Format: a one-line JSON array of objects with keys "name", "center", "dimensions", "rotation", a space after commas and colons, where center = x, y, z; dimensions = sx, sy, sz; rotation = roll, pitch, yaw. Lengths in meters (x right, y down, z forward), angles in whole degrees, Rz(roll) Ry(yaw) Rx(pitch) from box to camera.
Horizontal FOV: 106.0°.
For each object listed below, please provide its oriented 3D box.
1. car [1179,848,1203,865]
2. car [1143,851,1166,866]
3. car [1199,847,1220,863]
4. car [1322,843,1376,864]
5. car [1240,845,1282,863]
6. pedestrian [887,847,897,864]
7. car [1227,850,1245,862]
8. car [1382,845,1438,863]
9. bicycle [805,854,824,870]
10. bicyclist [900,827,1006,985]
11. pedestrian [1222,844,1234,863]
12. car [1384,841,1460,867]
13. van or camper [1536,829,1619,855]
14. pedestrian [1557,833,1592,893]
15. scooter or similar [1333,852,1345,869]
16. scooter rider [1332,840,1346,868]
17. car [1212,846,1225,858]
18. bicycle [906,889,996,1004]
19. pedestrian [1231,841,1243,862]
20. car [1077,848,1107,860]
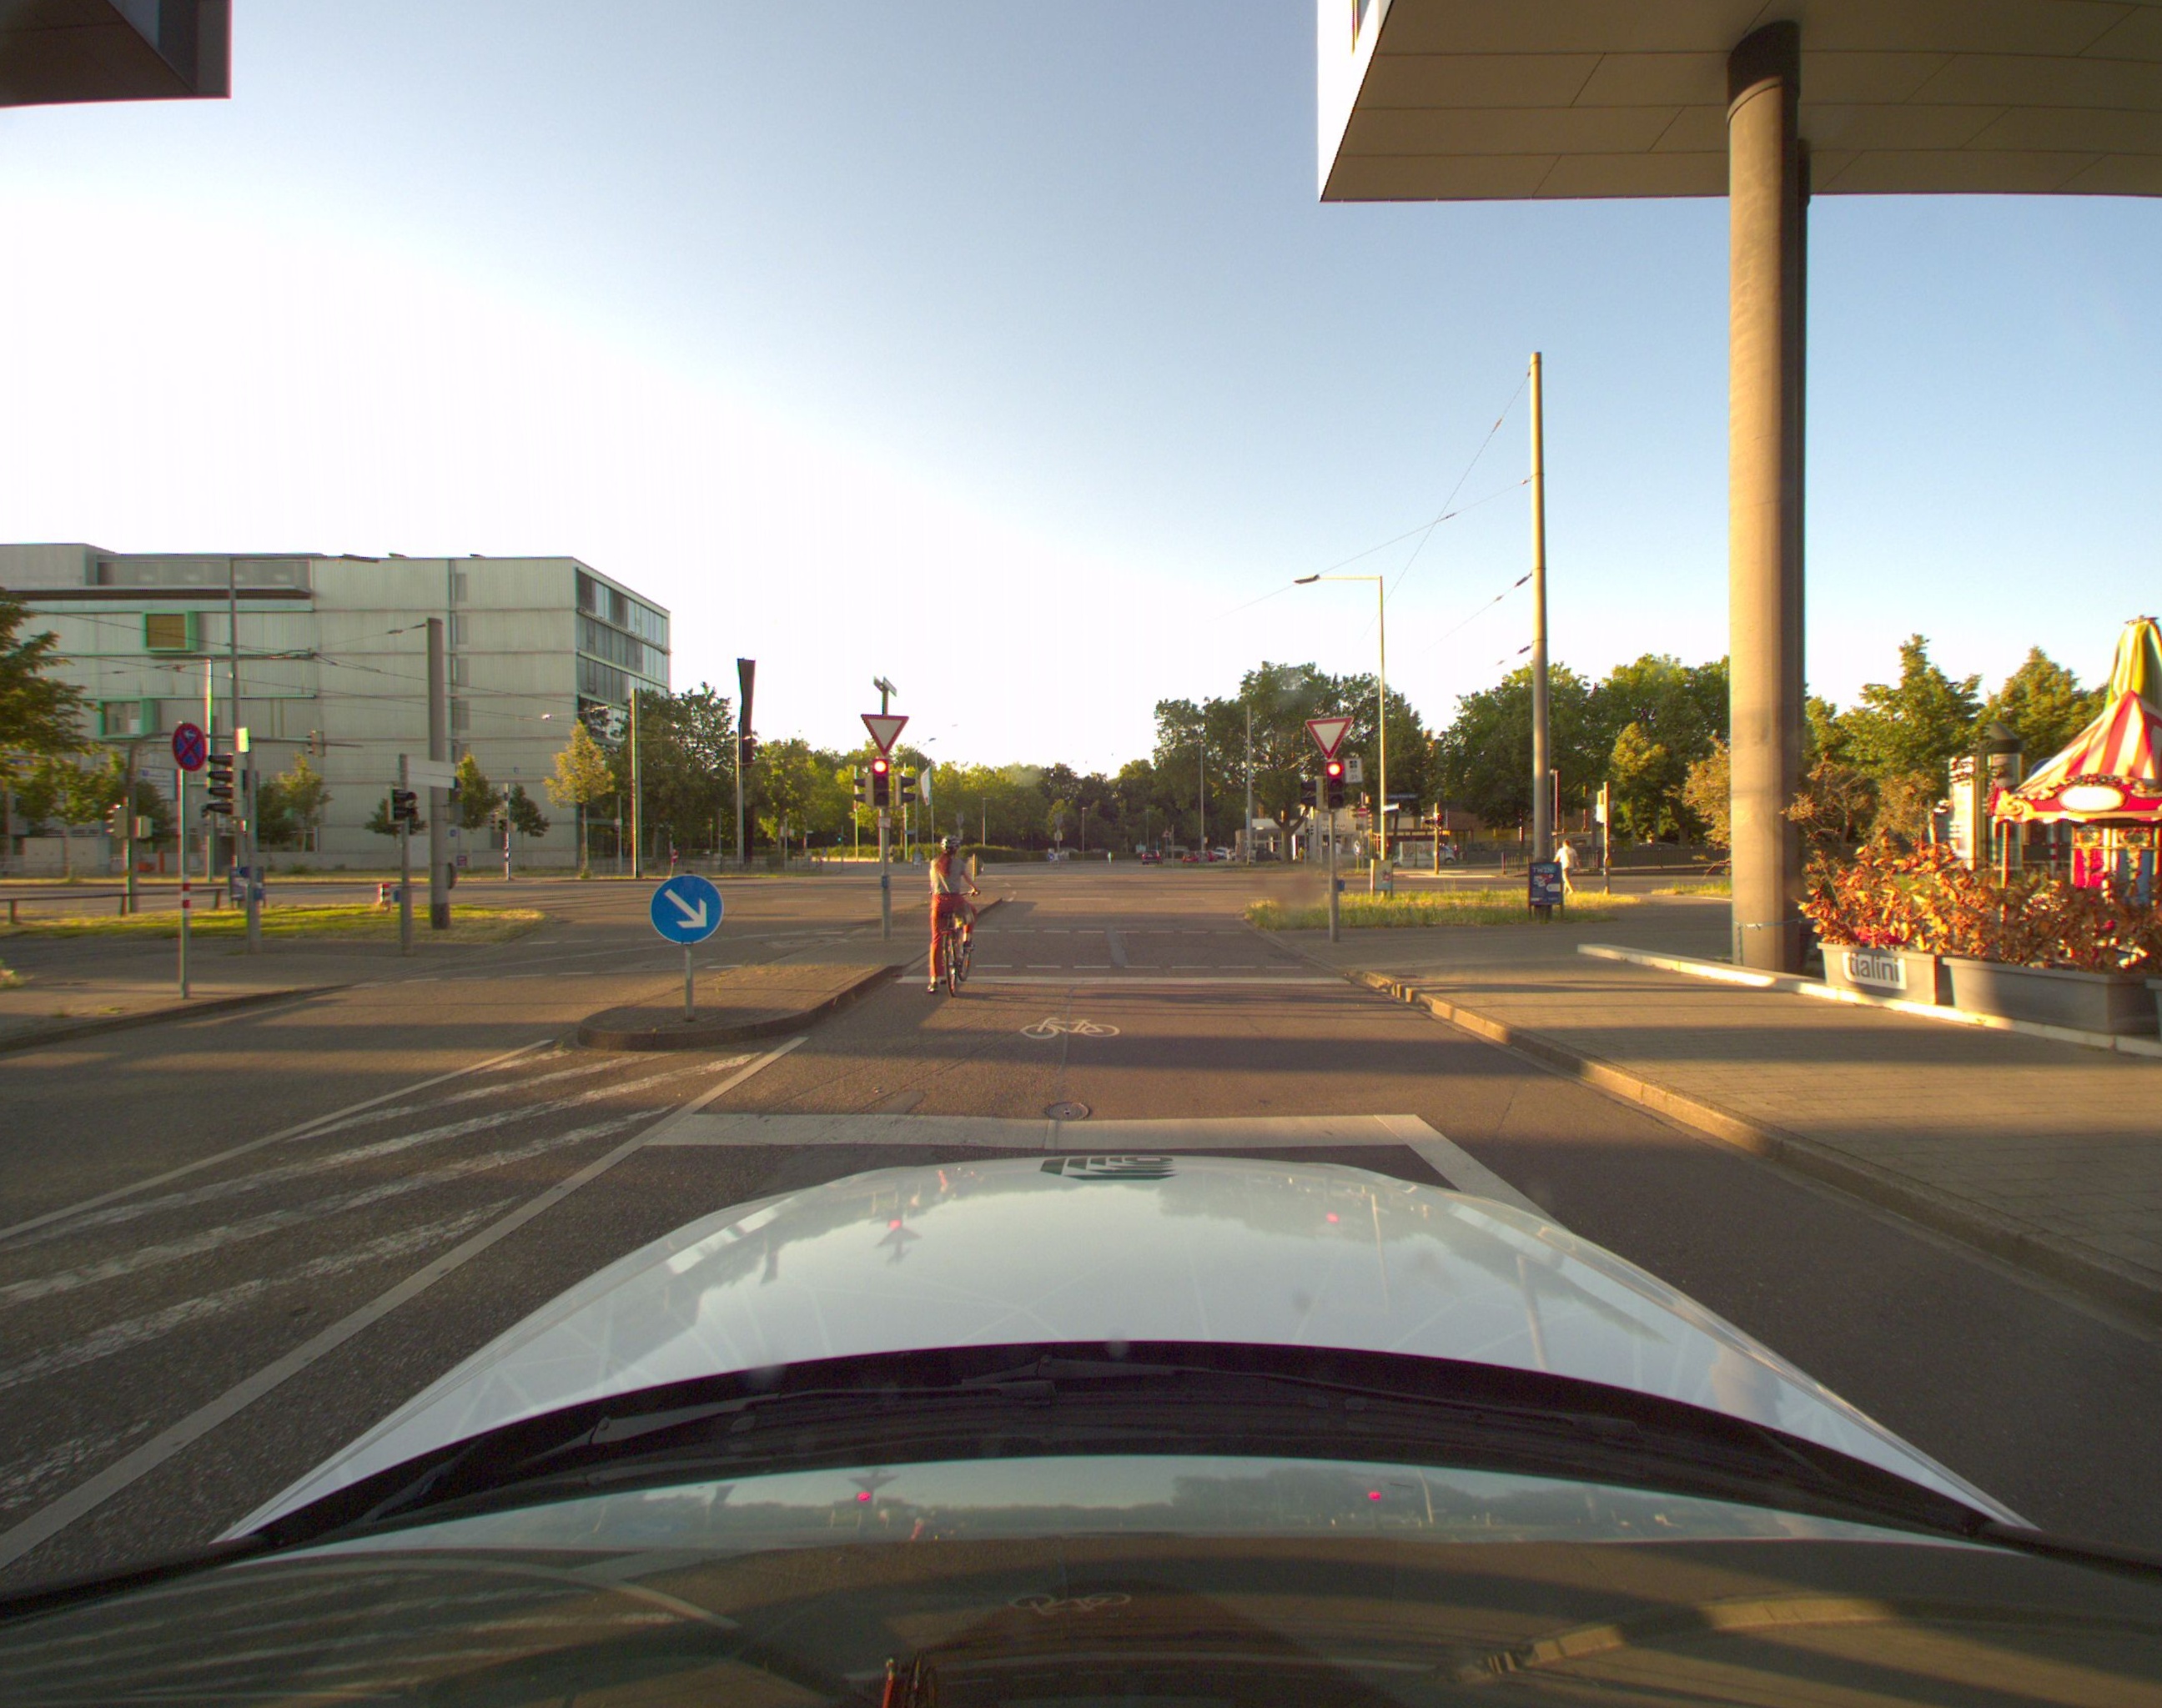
[{"name": "car", "center": [12.927, 0.262, 95.592], "dimensions": [1.852, 1.874, 3.896], "rotation": [0, 0, 23]}, {"name": "car", "center": [7.856, 0.526, 86.784], "dimensions": [1.742, 1.541, 4.418], "rotation": [-1, -1, 15]}, {"name": "car", "center": [16.259, 0.087, 103.133], "dimensions": [1.899, 2.047, 4.020], "rotation": [0, 0, 20]}, {"name": "car", "center": [23.663, -0.032, 72.092], "dimensions": [4.211, 1.846, 2.002], "rotation": [-1, 0, 4]}, {"name": "car", "center": [19.589, 0.007, 88.692], "dimensions": [4.354, 1.835, 1.952], "rotation": [-1, 0, 6]}, {"name": "pedestrian", "center": [-19.218, 0.127, 82.873], "dimensions": [0.898, 1.754, 0.715], "rotation": [-1, 0, -24]}, {"name": "car", "center": [21.957, 0.308, 115.171], "dimensions": [1.899, 1.602, 4.020], "rotation": [0, 0, 20]}, {"name": "car", "center": [28.989, -0.022, 71.898], "dimensions": [4.211, 1.577, 2.002], "rotation": [-1, 0, 4]}, {"name": "bicycle", "center": [-20.730, 0.620, 63.432], "dimensions": [0.697, 1.136, 2.392], "rotation": [-1, 0, -1]}, {"name": "bicyclist", "center": [-1.450, 0.566, 9.431], "dimensions": [1.028, 1.717, 0.996], "rotation": [-1, 0, 1]}, {"name": "pedestrian", "center": [12.313, -0.037, 68.208], "dimensions": [0.712, 1.639, 0.903], "rotation": [-1, 0, 26]}, {"name": "car", "center": [23.661, -0.024, 56.528], "dimensions": [4.523, 1.728, 1.860], "rotation": [-1, 0, -3]}, {"name": "van or camper", "center": [47.942, -1.094, 78.763], "dimensions": [6.530, 2.410, 2.268], "rotation": [-1, 0, 6]}, {"name": "pedestrian", "center": [15.050, 0.278, 24.854], "dimensions": [0.755, 1.791, 0.806], "rotation": [0, 0, 20]}, {"name": "scooter or similar", "center": [17.389, 0.447, 54.905], "dimensions": [0.508, 1.090, 1.243], "rotation": [-1, 0, 2]}, {"name": "scooter rider", "center": [17.380, -0.017, 54.875], "dimensions": [0.699, 1.855, 0.669], "rotation": [0, -1, 1]}, {"name": "car", "center": [22.081, -0.327, 130.881], "dimensions": [1.982, 2.013, 4.010], "rotation": [-1, 0, 9]}, {"name": "bicycle", "center": [-1.442, 0.995, 9.415], "dimensions": [0.632, 1.068, 2.123], "rotation": [-1, 0, 2]}, {"name": "pedestrian", "center": [12.985, -0.234, 67.836], "dimensions": [0.712, 1.754, 0.903], "rotation": [-1, 0, 26]}, {"name": "car", "center": [1.491, -0.014, 109.700], "dimensions": [3.970, 1.561, 2.002], "rotation": [-1, 0, 3]}]
